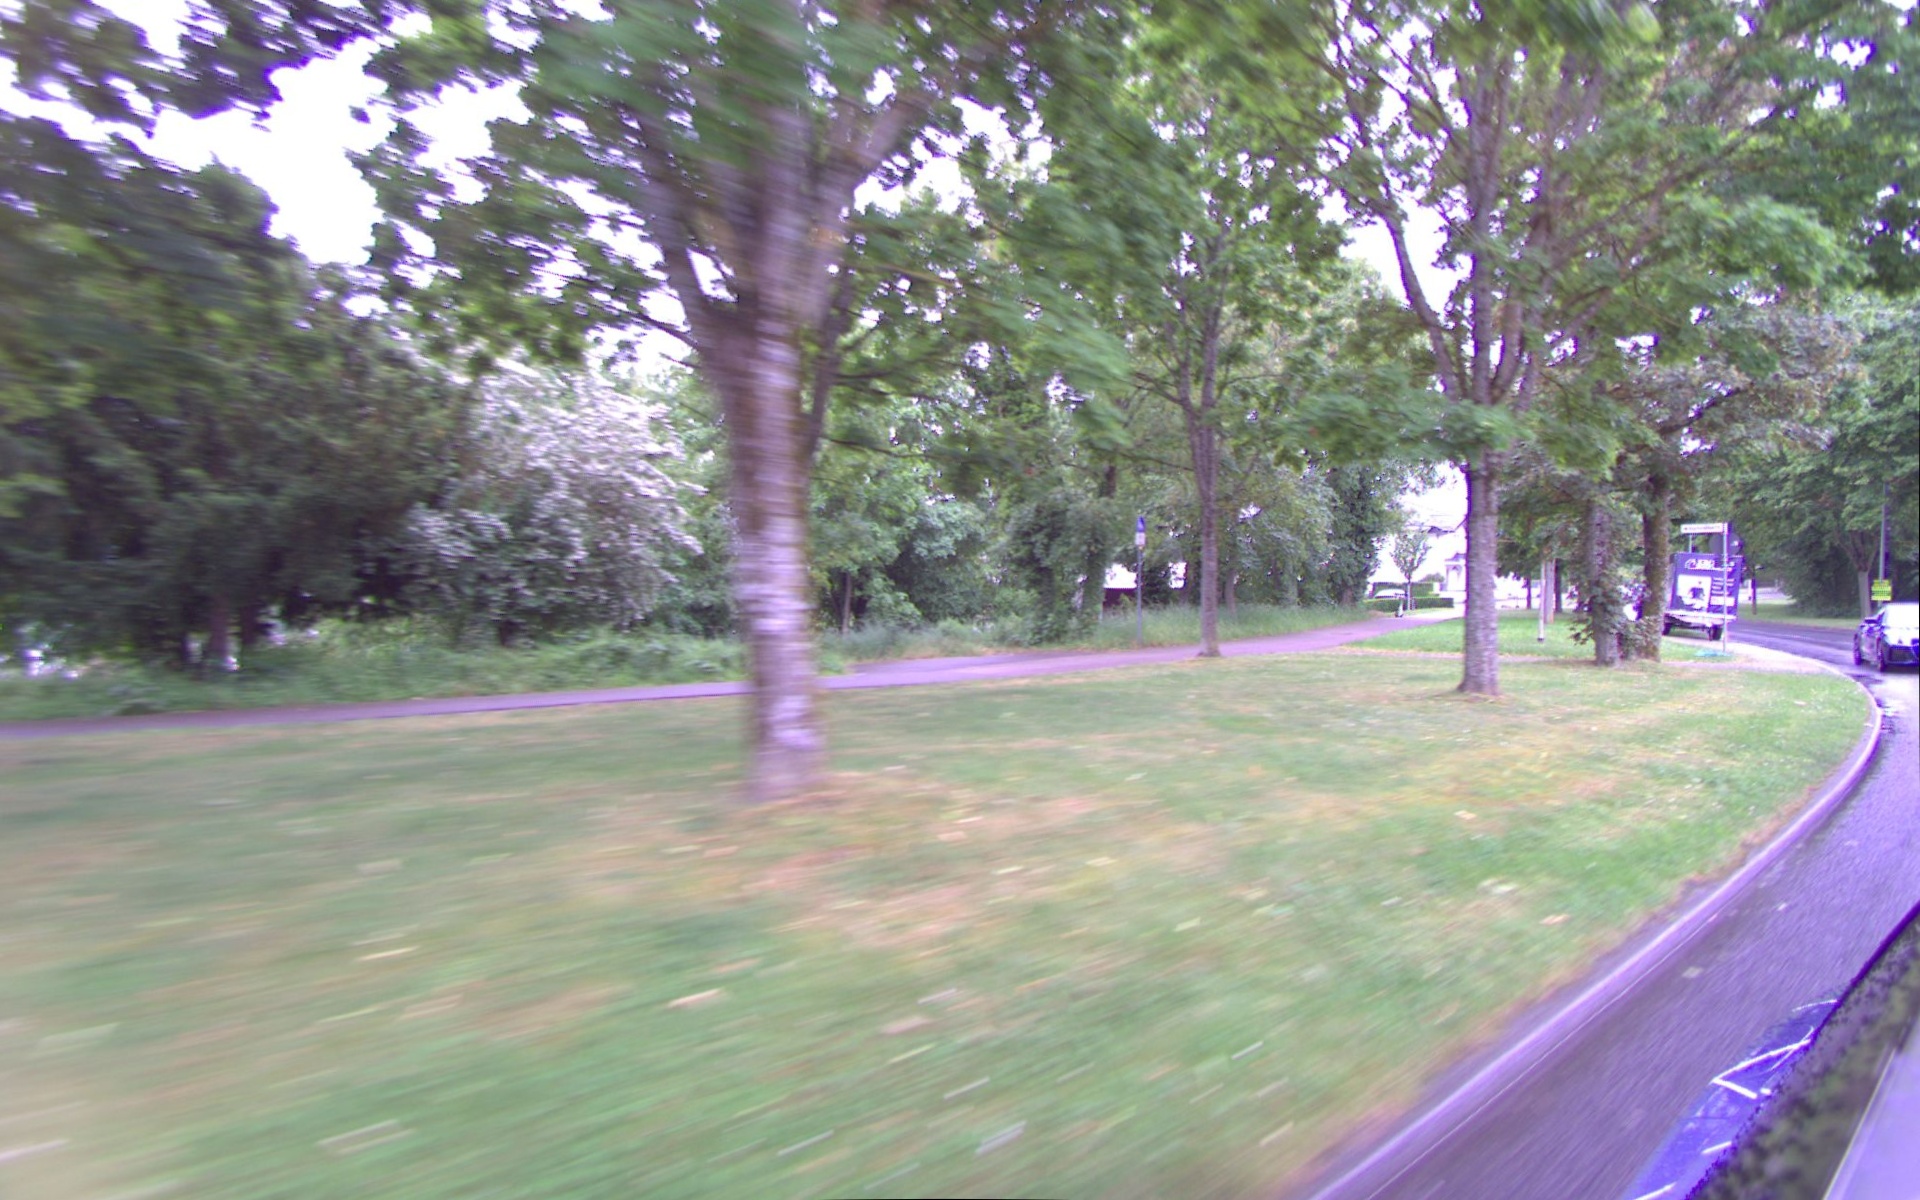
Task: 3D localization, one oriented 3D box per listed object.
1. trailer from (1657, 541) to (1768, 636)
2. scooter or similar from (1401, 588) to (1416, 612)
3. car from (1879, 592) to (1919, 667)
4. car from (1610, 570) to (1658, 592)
[{"bbox_3d":[25.774,-0.420,34.879,1.983,2.841,5.553,6,4,28],"label":"trailer"},{"bbox_3d":[22.184,0.000,50.012,0.461,1.161,1.286,2,2,32],"label":"scooter or similar"},{"bbox_3d":[21.026,0.585,21.686,1.809,1.486,3.917,-1,0,41],"label":"car"},{"bbox_3d":[60.096,-1.699,90.226,3.922,1.882,2.001,-2,1,-32],"label":"car"}]
